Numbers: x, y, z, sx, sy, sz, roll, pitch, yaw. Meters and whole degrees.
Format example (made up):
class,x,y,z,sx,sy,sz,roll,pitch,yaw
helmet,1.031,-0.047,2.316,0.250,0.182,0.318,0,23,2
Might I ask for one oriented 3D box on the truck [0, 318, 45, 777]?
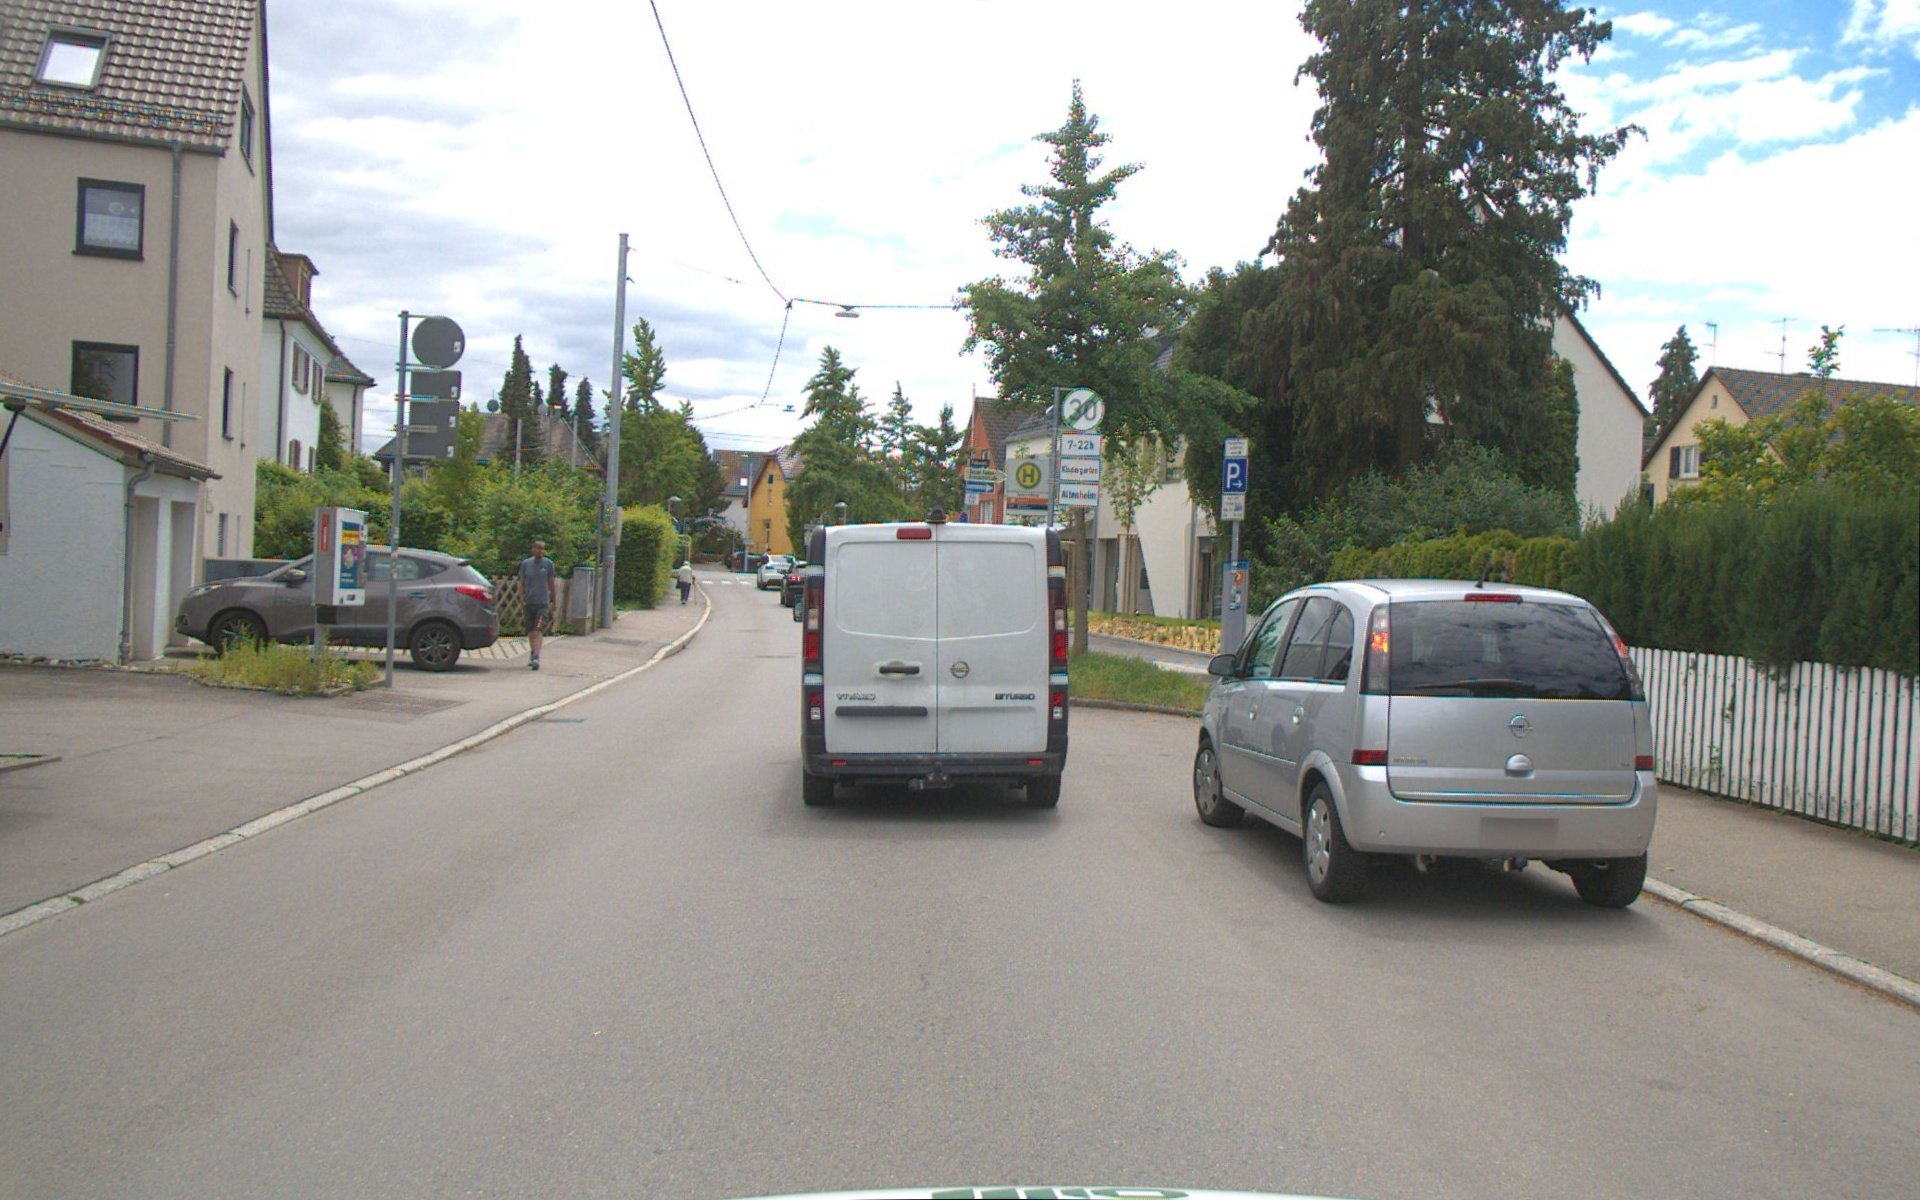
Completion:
class,x,y,z,sx,sy,sz,roll,pitch,yaw
truck,-6.959,-0.332,7.428,2.425,2.890,6.699,2,0,-6

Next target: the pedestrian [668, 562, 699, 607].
class,x,y,z,sx,sy,sz,roll,pitch,yaw
pedestrian,-9.740,-0.558,58.203,0.866,1.510,0.451,4,0,-29

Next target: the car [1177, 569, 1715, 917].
class,x,y,z,sx,sy,sz,roll,pitch,yaw
car,2.546,0.653,9.727,1.725,1.610,4.015,1,0,-4

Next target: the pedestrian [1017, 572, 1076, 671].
class,x,y,z,sx,sy,sz,roll,pitch,yaw
pedestrian,1.527,0.379,29.374,0.837,1.673,0.883,4,0,-3

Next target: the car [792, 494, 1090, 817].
class,x,y,z,sx,sy,sz,roll,pitch,yaw
car,-0.319,0.350,12.867,1.878,2.037,4.433,2,0,-5

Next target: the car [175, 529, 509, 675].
class,x,y,z,sx,sy,sz,roll,pitch,yaw
car,-8.753,0.029,23.824,4.241,1.725,1.790,4,0,-16

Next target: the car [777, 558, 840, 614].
class,x,y,z,sx,sy,sz,roll,pitch,yaw
car,-5.442,-0.503,59.002,1.957,1.880,3.992,1,1,-9

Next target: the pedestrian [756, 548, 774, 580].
class,x,y,z,sx,sy,sz,roll,pitch,yaw
pedestrian,-10.492,-1.923,88.792,0.791,1.637,0.625,4,0,-14

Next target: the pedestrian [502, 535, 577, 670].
class,x,y,z,sx,sy,sz,roll,pitch,yaw
pedestrian,-6.469,0.041,25.499,0.718,1.979,1.217,4,0,-1

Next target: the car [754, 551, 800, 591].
class,x,y,z,sx,sy,sz,roll,pitch,yaw
car,-8.711,-1.354,78.517,1.957,1.813,3.992,1,1,-9
